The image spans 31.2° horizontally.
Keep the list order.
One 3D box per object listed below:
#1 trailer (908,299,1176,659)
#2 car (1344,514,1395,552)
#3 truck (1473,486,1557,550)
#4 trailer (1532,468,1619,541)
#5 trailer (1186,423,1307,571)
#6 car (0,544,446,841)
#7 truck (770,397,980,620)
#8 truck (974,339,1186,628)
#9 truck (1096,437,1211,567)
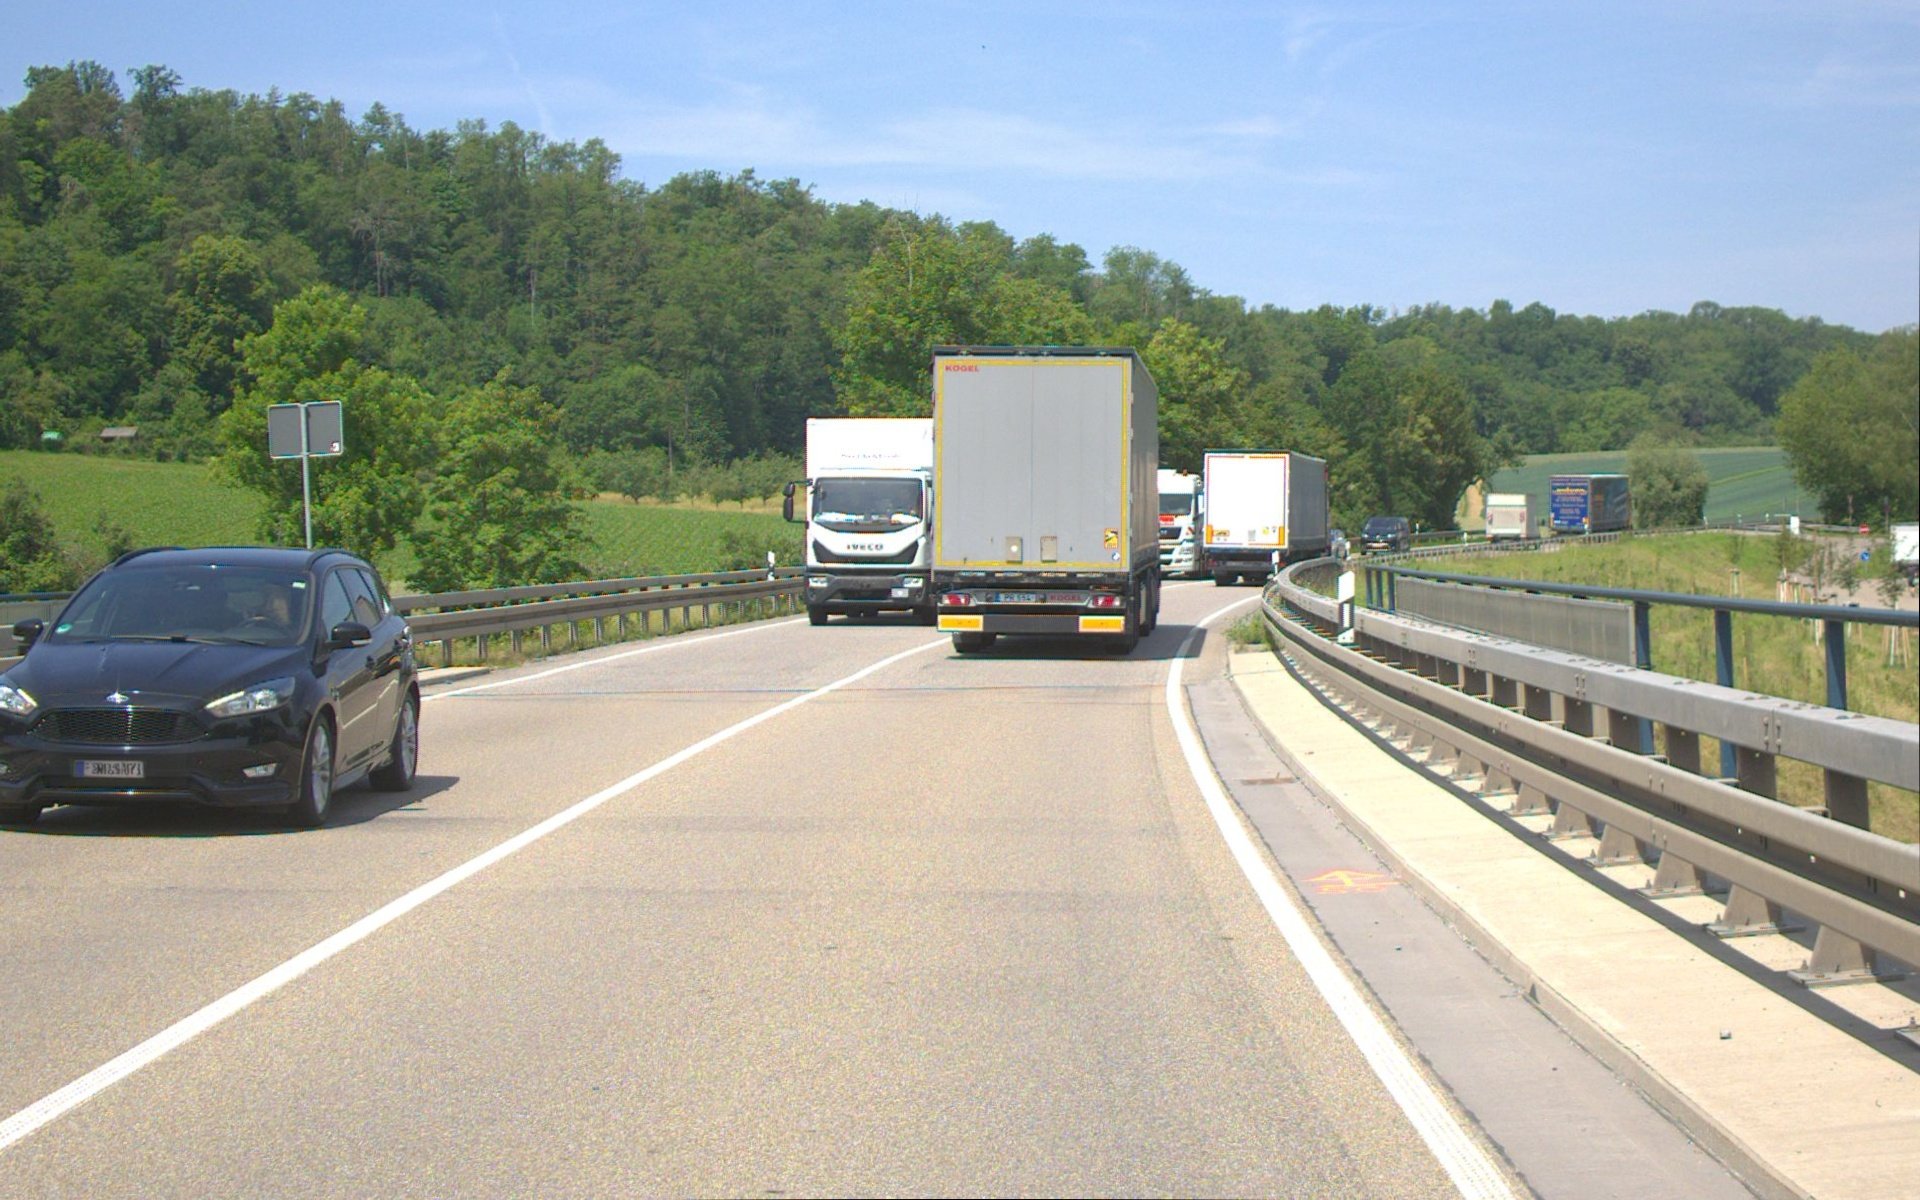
[{"bbox_3d":[1.456,-1.716,49.827,3.119,4.484,13.885,0,2,4],"label":"trailer"},{"bbox_3d":[20.419,-3.363,171.322,1.923,1.853,5.172,1,1,14],"label":"car"},{"bbox_3d":[30.306,-4.418,187.464,3.225,3.354,11.866,0,1,15],"label":"truck"},{"bbox_3d":[37.539,-5.763,209.230,3.651,4.248,12.184,0,1,17],"label":"trailer"},{"bbox_3d":[9.085,-3.108,107.549,3.366,4.302,13.861,0,1,6],"label":"trailer"},{"bbox_3d":[-4.178,0.428,19.609,1.721,1.477,4.569,0,1,1],"label":"car"},{"bbox_3d":[-1.422,-1.691,63.432,2.915,3.790,9.707,0,1,4],"label":"truck"},{"bbox_3d":[2.081,-1.919,56.933,3.119,4.479,6.810,0,2,5],"label":"truck"},{"bbox_3d":[6.696,-3.286,117.606,3.061,4.248,9.865,0,1,8],"label":"truck"}]
